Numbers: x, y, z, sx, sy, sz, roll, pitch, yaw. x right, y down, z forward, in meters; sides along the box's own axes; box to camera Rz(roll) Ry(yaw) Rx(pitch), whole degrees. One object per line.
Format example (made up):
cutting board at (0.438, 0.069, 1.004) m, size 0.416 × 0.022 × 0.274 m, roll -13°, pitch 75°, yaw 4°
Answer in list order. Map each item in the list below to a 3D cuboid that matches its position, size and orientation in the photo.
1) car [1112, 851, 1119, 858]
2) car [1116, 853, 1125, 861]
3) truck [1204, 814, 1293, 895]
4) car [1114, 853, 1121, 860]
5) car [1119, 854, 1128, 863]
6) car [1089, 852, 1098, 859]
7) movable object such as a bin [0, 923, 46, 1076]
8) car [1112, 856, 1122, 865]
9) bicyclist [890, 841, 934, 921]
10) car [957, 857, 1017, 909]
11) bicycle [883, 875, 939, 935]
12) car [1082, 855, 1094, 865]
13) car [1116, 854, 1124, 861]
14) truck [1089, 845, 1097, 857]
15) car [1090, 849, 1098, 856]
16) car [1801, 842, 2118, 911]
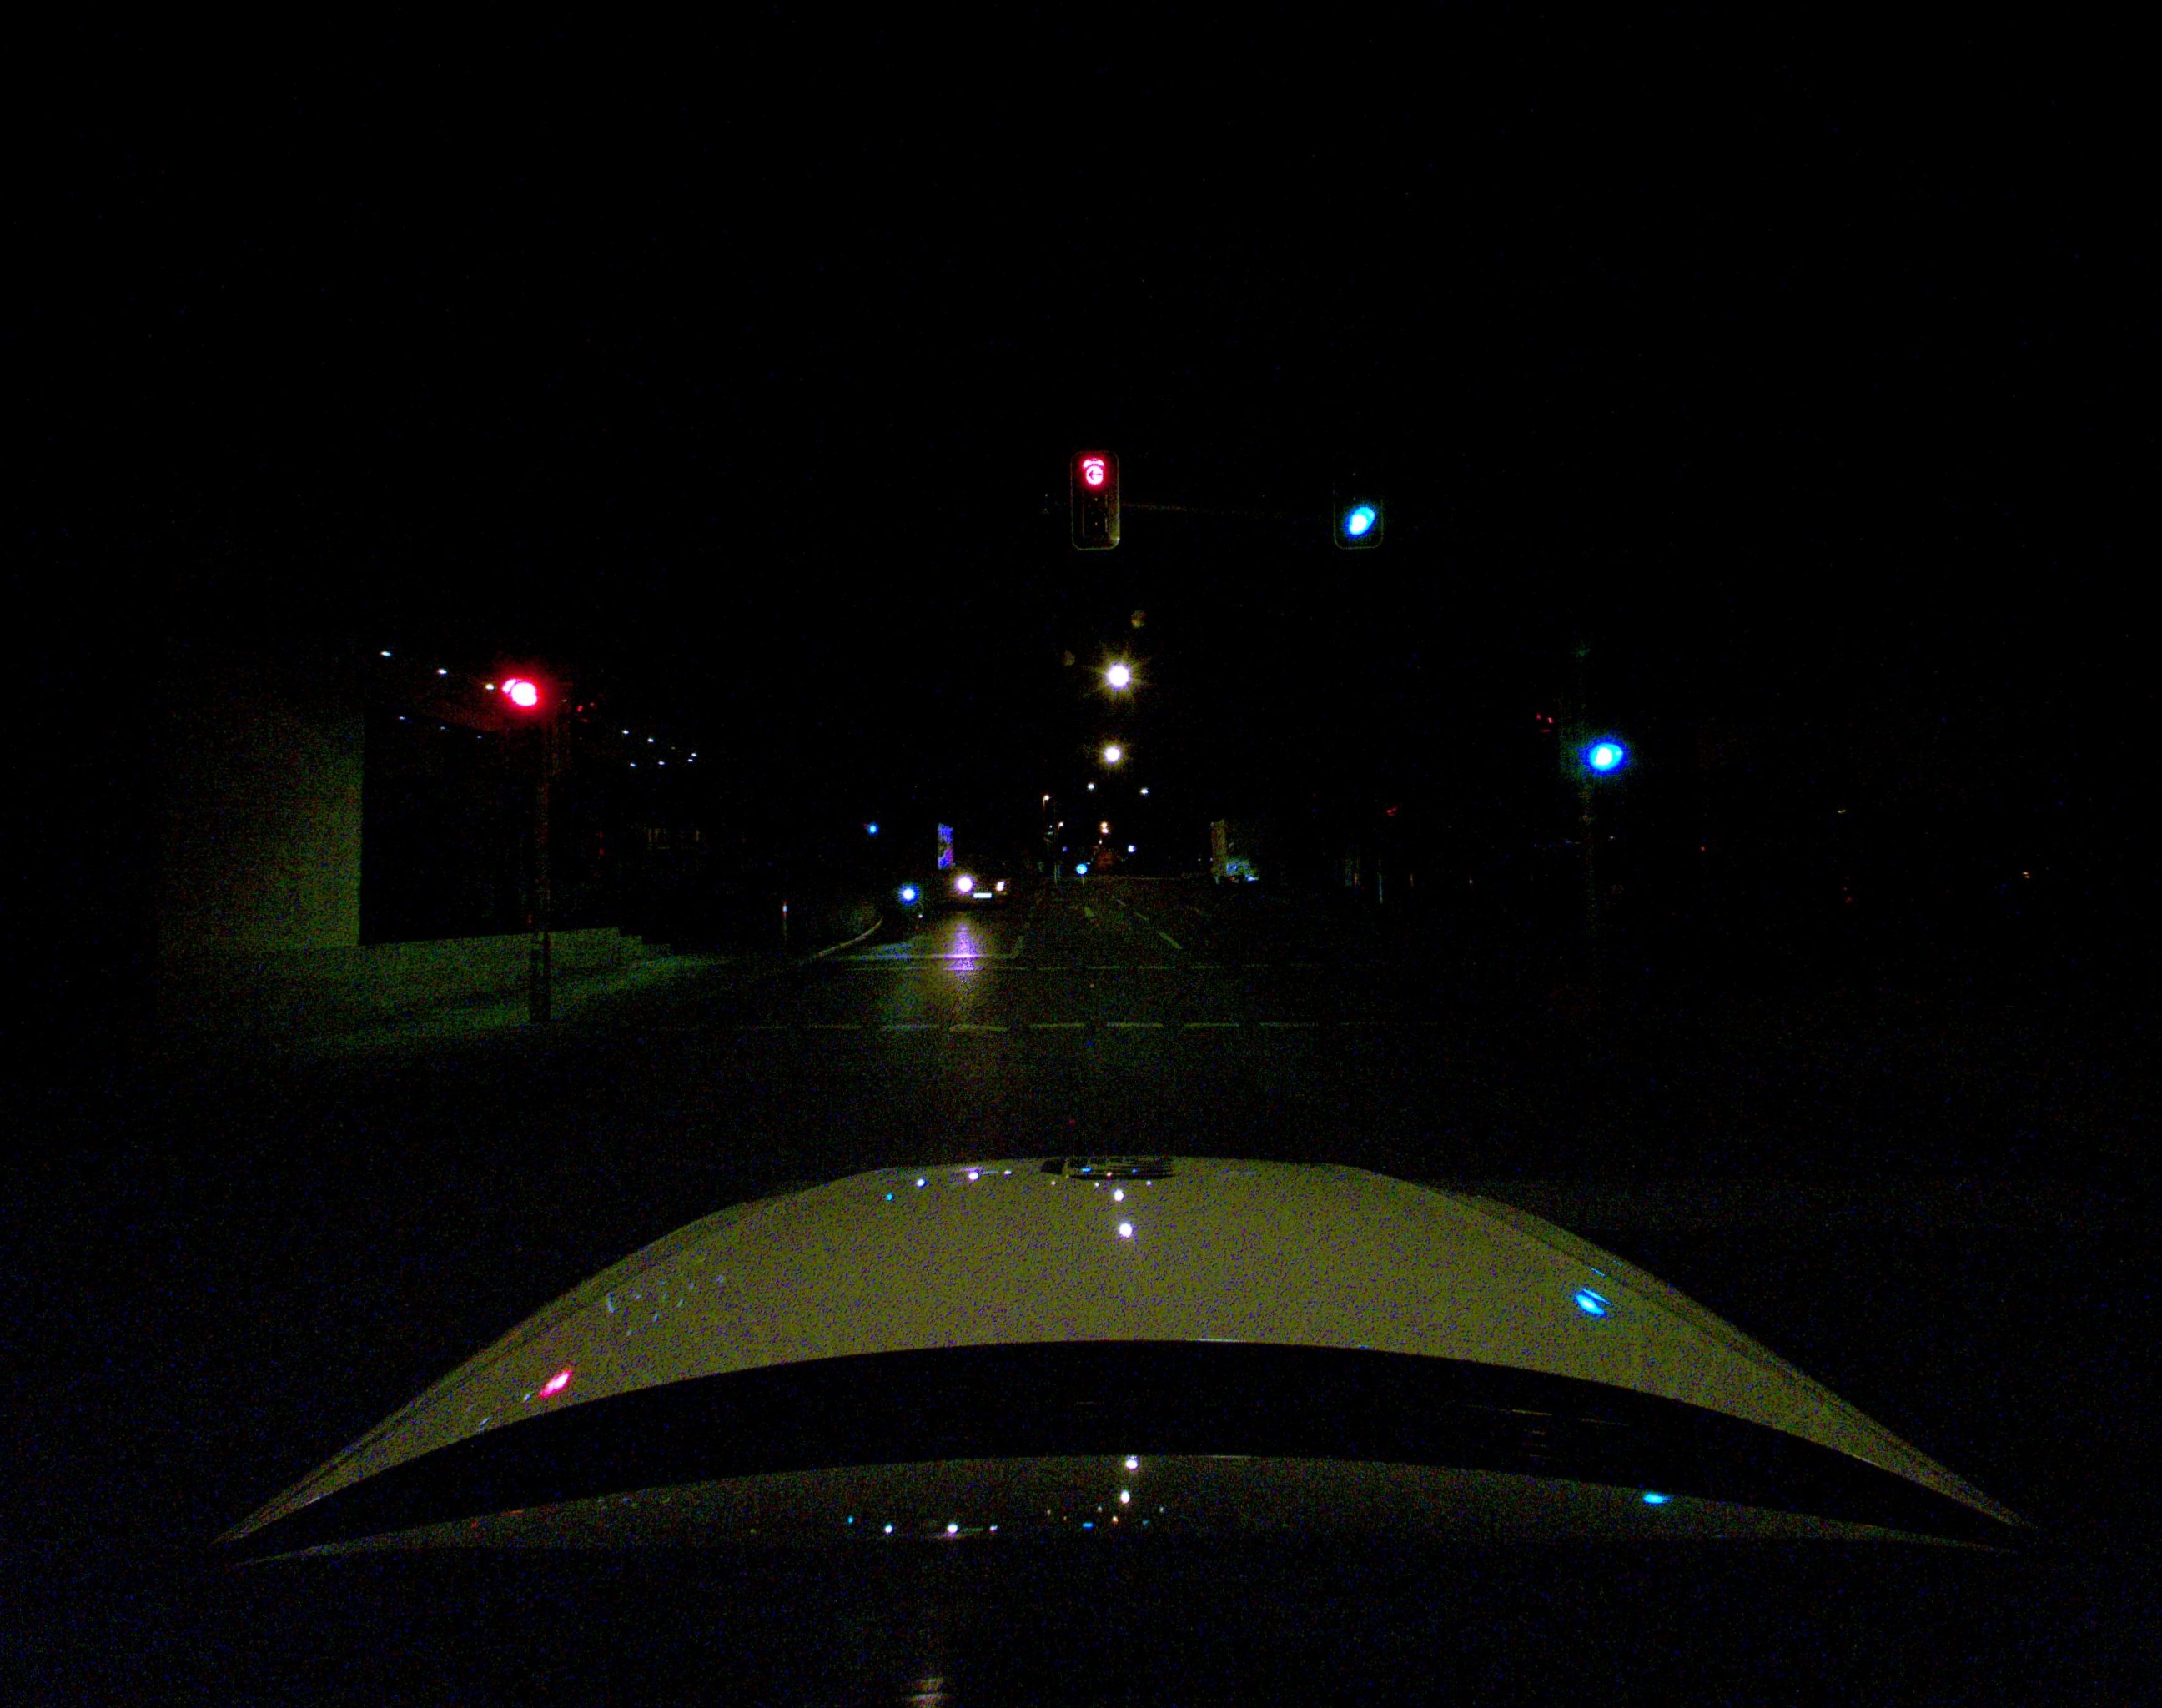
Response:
car at (8.186, 0.120, 191.559) m, size 1.628 × 1.452 × 3.486 m, roll 0°, pitch 0°, yaw 2°
car at (7.472, 0.638, 153.146) m, size 1.628 × 1.452 × 3.486 m, roll 0°, pitch 0°, yaw 2°
truck at (6.954, 0.028, 34.593) m, size 2.738 × 3.110 × 6.262 m, roll 0°, pitch 0°, yaw 2°
car at (7.979, 0.515, 178.580) m, size 1.628 × 1.452 × 3.486 m, roll 0°, pitch 0°, yaw 2°
car at (7.486, 0.815, 143.402) m, size 1.628 × 1.452 × 3.486 m, roll 0°, pitch 0°, yaw 2°
car at (2.434, 0.304, 160.756) m, size 1.809 × 1.491 × 4.000 m, roll 0°, pitch 0°, yaw 0°
movable object such as a bin at (-7.926, 1.035, 5.706) m, size 0.633 × 1.049 × 0.657 m, roll -1°, pitch -1°, yaw 19°
car at (6.028, 1.022, 137.727) m, size 1.587 × 1.476 × 3.655 m, roll 0°, pitch 0°, yaw 2°
bicyclist at (-3.527, 0.555, 17.038) m, size 0.688 × 1.637 × 0.896 m, roll -1°, pitch -1°, yaw 1°
car at (-2.891, 0.855, 25.577) m, size 1.577 × 1.501 × 3.393 m, roll -1°, pitch 0°, yaw -2°
bicycle at (-3.526, 1.023, 17.053) m, size 0.693 × 1.149 × 1.951 m, roll -1°, pitch -1°, yaw 2°
car at (1.197, 1.000, 134.630) m, size 1.808 × 1.684 × 4.002 m, roll 0°, pitch 0°, yaw 2°
car at (7.608, 0.700, 159.332) m, size 1.628 × 1.452 × 3.486 m, roll 0°, pitch 0°, yaw 2°
truck at (3.141, -0.727, 209.811) m, size 2.079 × 2.848 × 5.831 m, roll 0°, pitch 0°, yaw 0°
car at (2.999, -0.339, 187.158) m, size 1.809 × 1.491 × 4.000 m, roll 0°, pitch 0°, yaw 0°
car at (17.323, 0.451, 16.274) m, size 4.107 × 1.280 × 1.770 m, roll -1°, pitch -1°, yaw 9°
